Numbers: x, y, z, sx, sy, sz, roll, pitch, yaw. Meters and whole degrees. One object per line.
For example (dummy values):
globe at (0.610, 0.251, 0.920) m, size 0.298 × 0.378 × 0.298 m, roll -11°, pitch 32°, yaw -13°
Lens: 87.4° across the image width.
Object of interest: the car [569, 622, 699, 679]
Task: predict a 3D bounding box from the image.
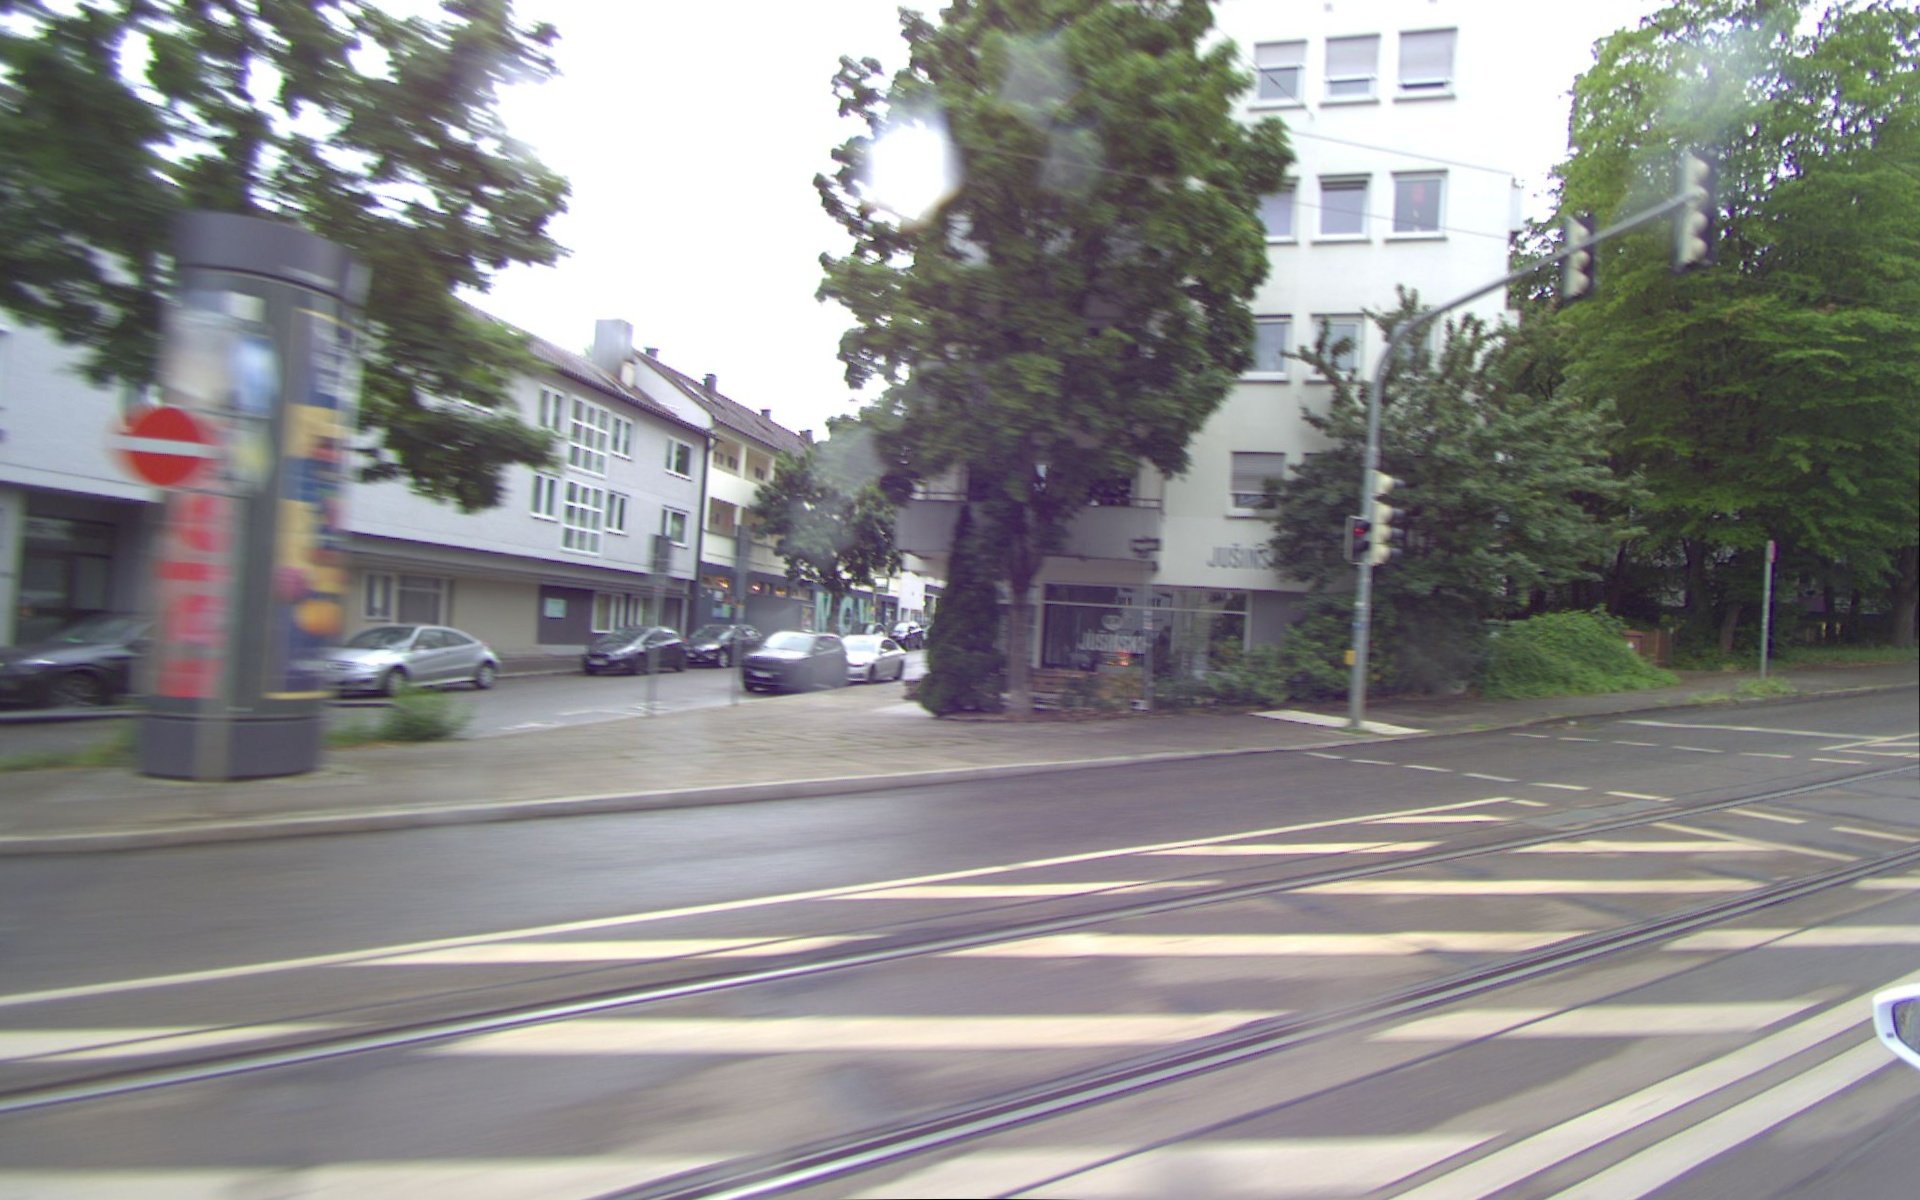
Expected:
car at (-9.955, 1.550, 31.088) m, size 1.805 × 1.513 × 4.205 m, roll 4°, pitch -2°, yaw 14°

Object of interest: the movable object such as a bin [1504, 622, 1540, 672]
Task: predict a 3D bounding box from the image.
movable object such as a bin at (14.791, 1.228, 26.463) m, size 0.654 × 1.249 × 0.627 m, roll 4°, pitch -1°, yaw 18°

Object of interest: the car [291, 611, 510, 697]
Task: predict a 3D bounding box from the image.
car at (-12.228, 1.167, 22.307) m, size 1.805 × 1.599 × 4.177 m, roll 4°, pitch -2°, yaw 14°

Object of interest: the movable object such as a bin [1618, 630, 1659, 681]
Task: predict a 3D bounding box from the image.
movable object such as a bin at (17.349, 1.422, 25.711) m, size 0.654 × 1.249 × 0.627 m, roll 4°, pitch -1°, yaw 18°

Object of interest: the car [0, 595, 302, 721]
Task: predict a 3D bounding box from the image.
car at (-13.804, 0.907, 16.773) m, size 1.805 × 1.728 × 4.644 m, roll 4°, pitch -2°, yaw 14°

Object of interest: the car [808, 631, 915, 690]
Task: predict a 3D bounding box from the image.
car at (-3.089, 1.943, 32.761) m, size 1.960 × 1.616 × 4.677 m, roll 4°, pitch -2°, yaw 13°

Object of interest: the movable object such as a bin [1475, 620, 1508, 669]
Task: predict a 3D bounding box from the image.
movable object such as a bin at (14.098, 1.174, 26.652) m, size 0.614 × 1.249 × 0.627 m, roll 4°, pitch -1°, yaw 18°

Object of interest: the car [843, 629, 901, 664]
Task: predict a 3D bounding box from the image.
car at (-4.706, 2.521, 54.304) m, size 1.805 × 1.663 × 4.205 m, roll 4°, pitch -2°, yaw 14°

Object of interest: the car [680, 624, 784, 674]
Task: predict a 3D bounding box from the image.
car at (-8.162, 1.764, 36.378) m, size 1.854 × 1.550 × 4.002 m, roll 4°, pitch -2°, yaw 17°

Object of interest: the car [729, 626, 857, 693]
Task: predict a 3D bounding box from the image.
car at (-4.489, 1.609, 27.631) m, size 1.960 × 1.538 × 4.003 m, roll 4°, pitch -1°, yaw 13°

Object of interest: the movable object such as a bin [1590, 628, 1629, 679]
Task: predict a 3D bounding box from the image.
movable object such as a bin at (16.708, 1.372, 25.847) m, size 0.654 × 1.249 × 0.627 m, roll 4°, pitch -1°, yaw 18°
